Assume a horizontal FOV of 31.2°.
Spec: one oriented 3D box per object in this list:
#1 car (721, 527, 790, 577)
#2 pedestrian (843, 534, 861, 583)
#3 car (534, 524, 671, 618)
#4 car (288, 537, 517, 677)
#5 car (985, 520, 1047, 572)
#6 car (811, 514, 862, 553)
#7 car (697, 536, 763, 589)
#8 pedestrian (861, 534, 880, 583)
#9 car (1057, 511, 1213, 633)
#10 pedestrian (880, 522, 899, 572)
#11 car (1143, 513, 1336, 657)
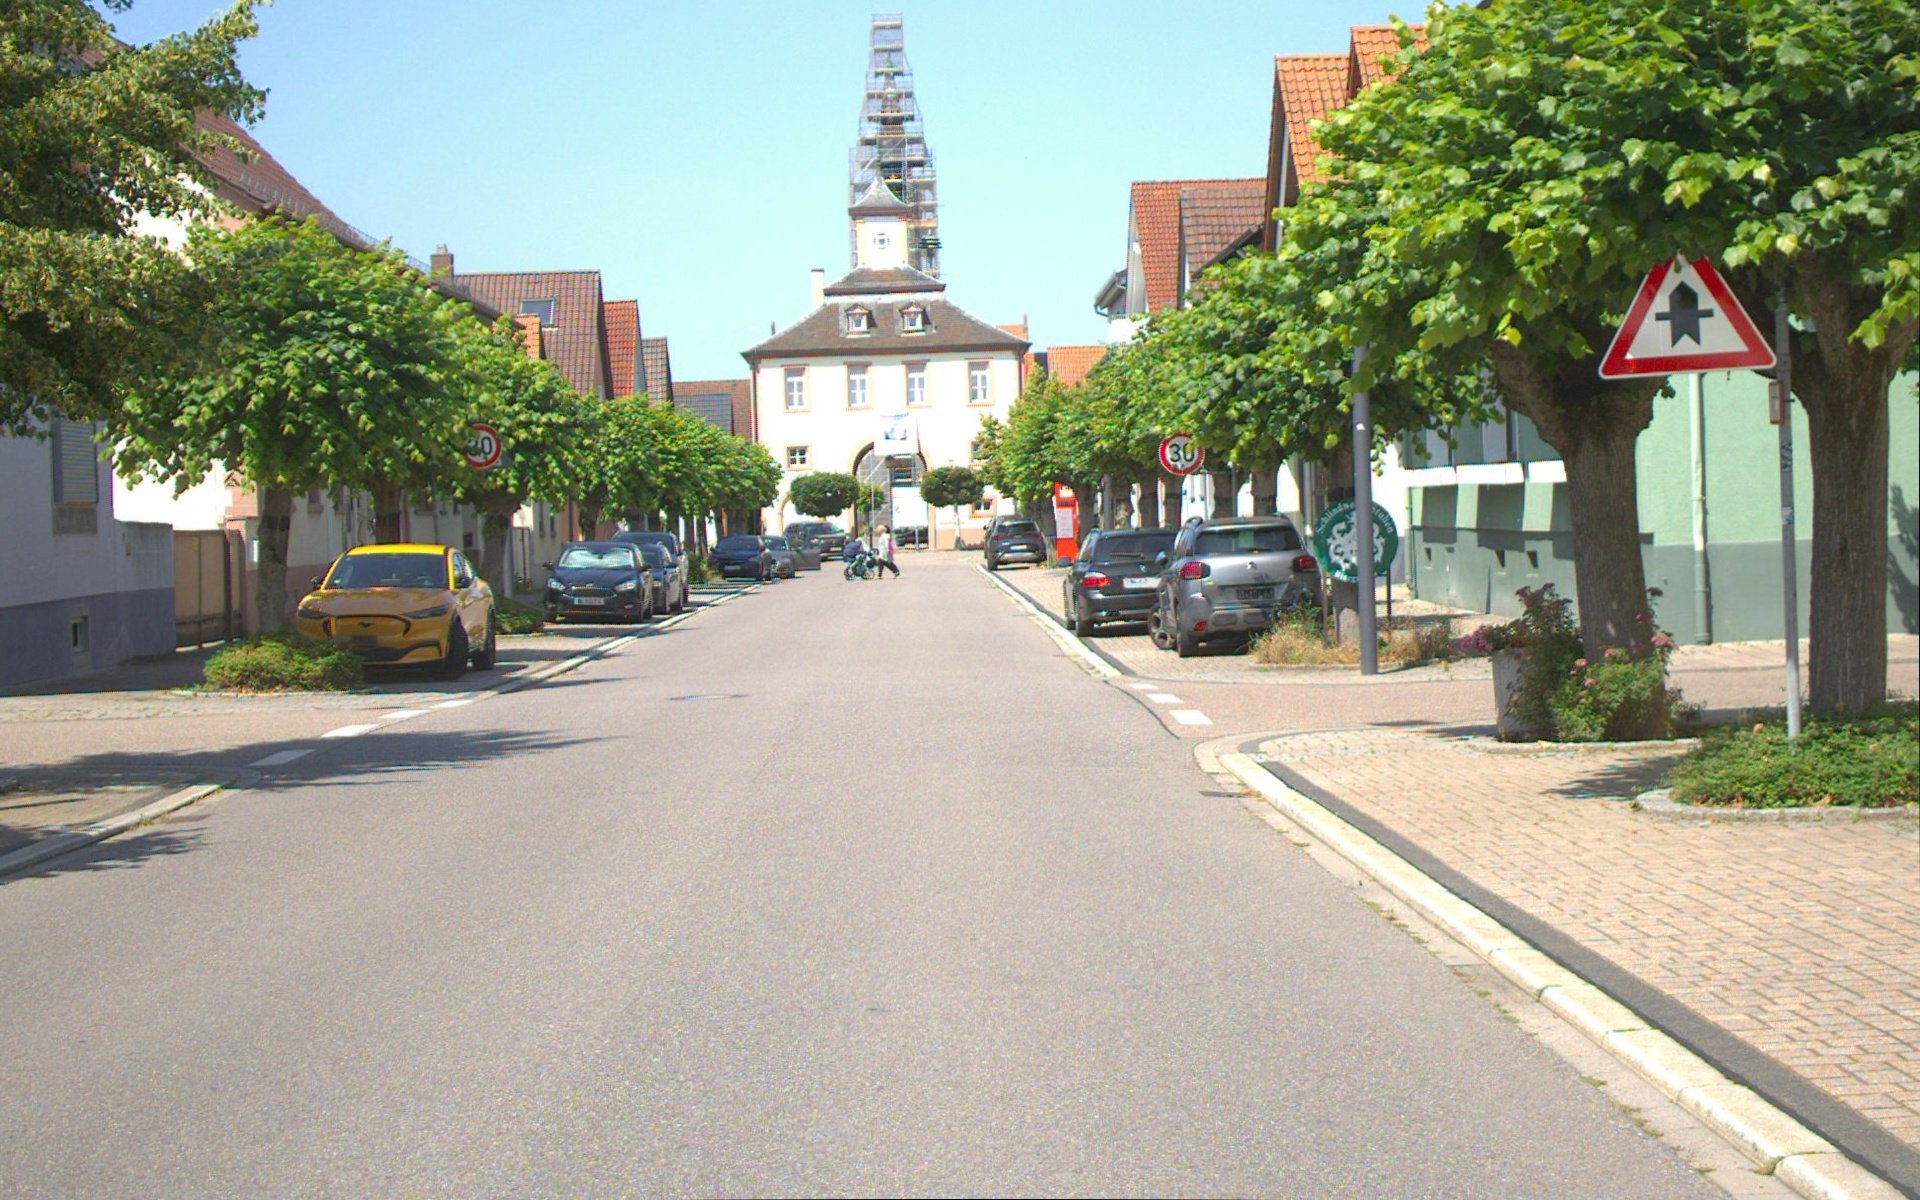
[{"bbox_3d":[-6.645,-1.547,111.885,1.993,1.606,3.855,0,0,0],"label":"car"},{"bbox_3d":[-3.076,-1.184,97.824,0.358,1.398,0.319,-1,1,37],"label":"pedestrian"},{"bbox_3d":[-6.495,-0.562,62.952,1.993,1.606,4.689,0,2,0],"label":"car"},{"bbox_3d":[-6.689,0.038,41.721,1.993,1.606,4.689,0,1,0],"label":"car"},{"bbox_3d":[1.800,-1.780,111.737,1.837,1.550,4.314,-3,1,0],"label":"car"},{"bbox_3d":[-5.267,-2.811,146.122,1.993,1.606,4.507,0,0,-5],"label":"car"},{"bbox_3d":[-7.082,-1.181,106.145,1.757,1.550,4.020,-2,1,0],"label":"car"},{"bbox_3d":[-2.554,-1.185,98.146,0.358,1.398,0.319,-1,1,37],"label":"pedestrian"},{"bbox_3d":[2.439,-0.428,48.921,1.837,1.550,4.314,-3,1,-1],"label":"car"},{"bbox_3d":[-1.998,-1.491,97.241,0.358,1.398,0.319,-1,1,37],"label":"pedestrian"},{"bbox_3d":[3.305,-0.211,41.329,1.837,1.602,4.001,-1,1,-2],"label":"car"}]
